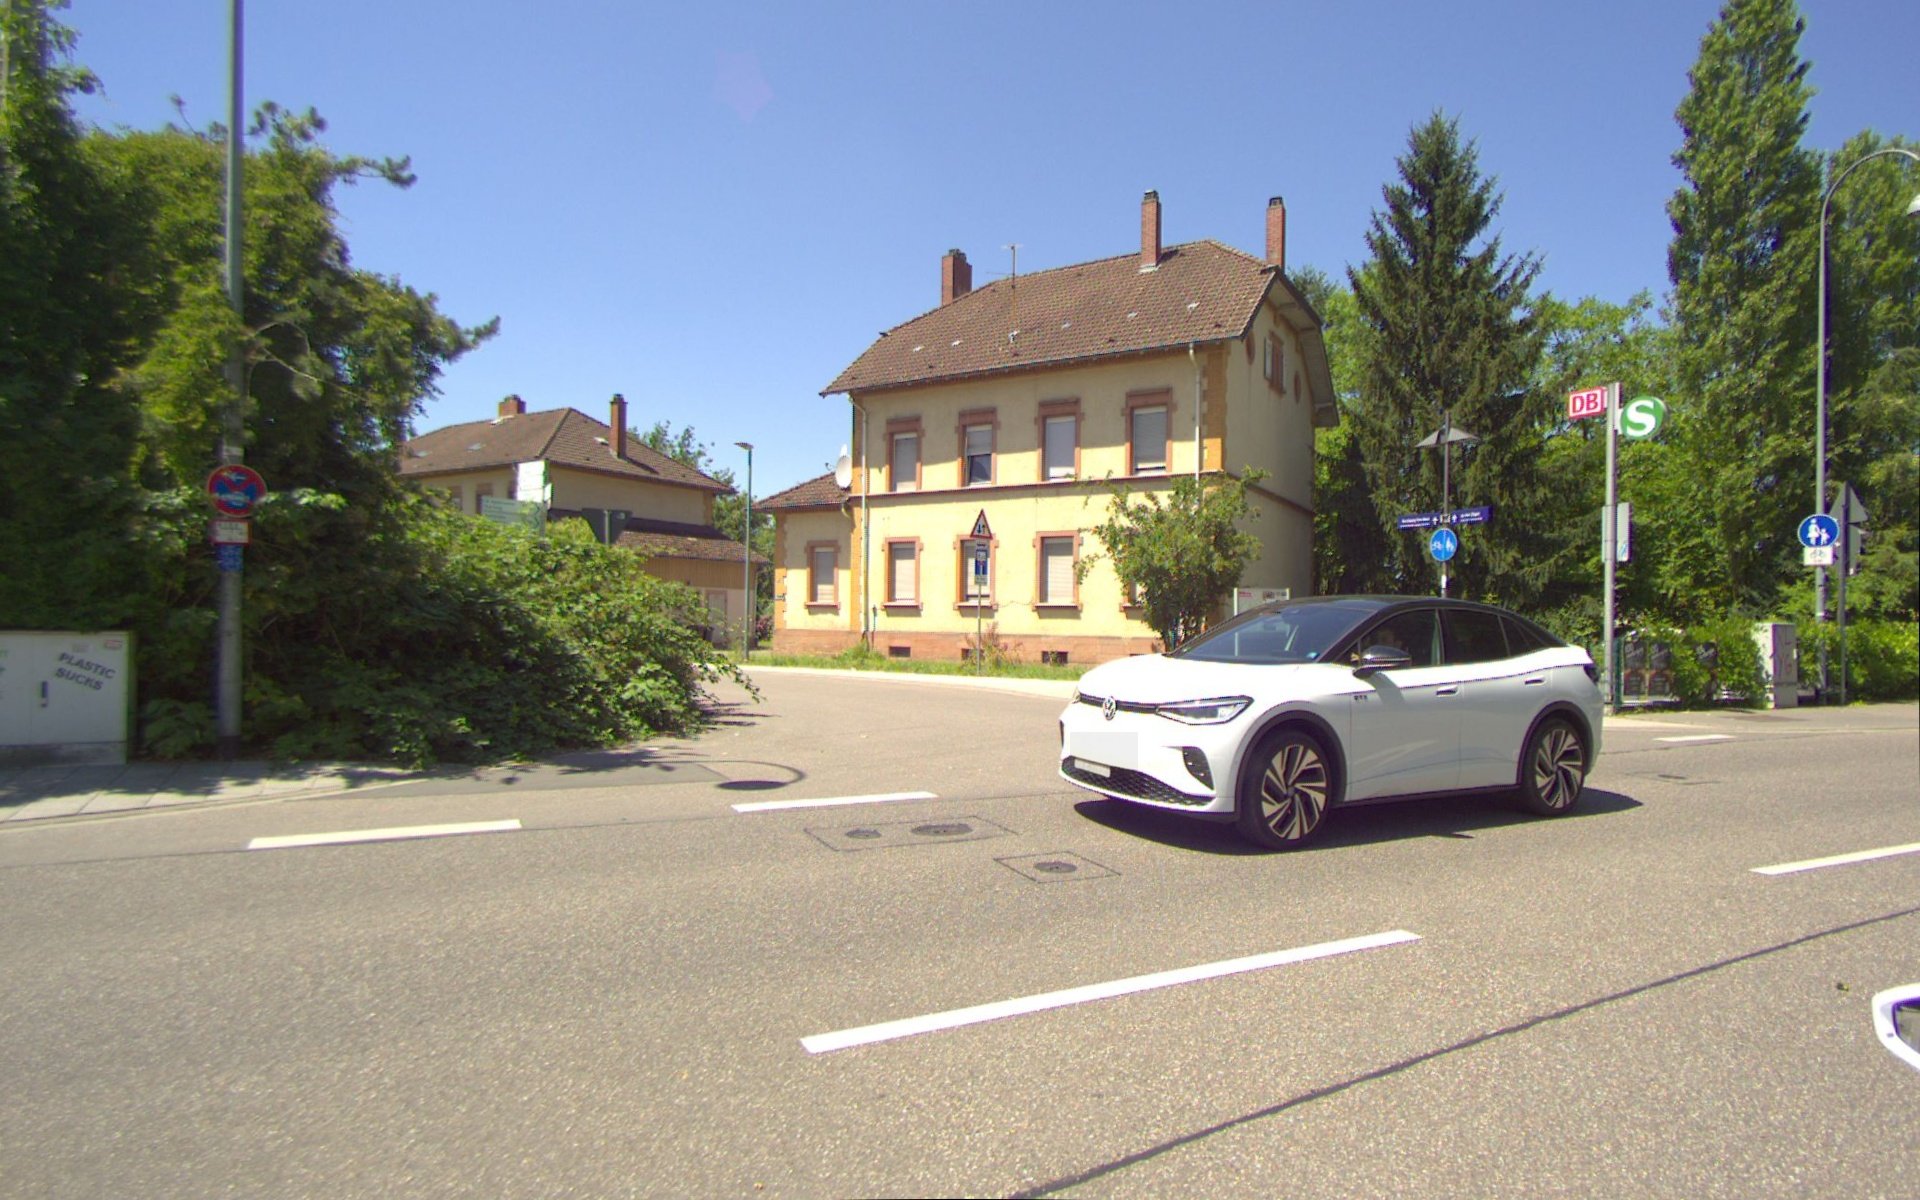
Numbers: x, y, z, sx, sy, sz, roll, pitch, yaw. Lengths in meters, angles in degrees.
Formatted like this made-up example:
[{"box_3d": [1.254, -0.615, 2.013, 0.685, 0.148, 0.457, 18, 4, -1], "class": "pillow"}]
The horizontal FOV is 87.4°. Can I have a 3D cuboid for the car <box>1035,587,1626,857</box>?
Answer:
[{"box_3d": [2.871, 0.733, 7.617, 4.285, 1.551, 1.837, 1, 0, -28], "class": "car"}]
